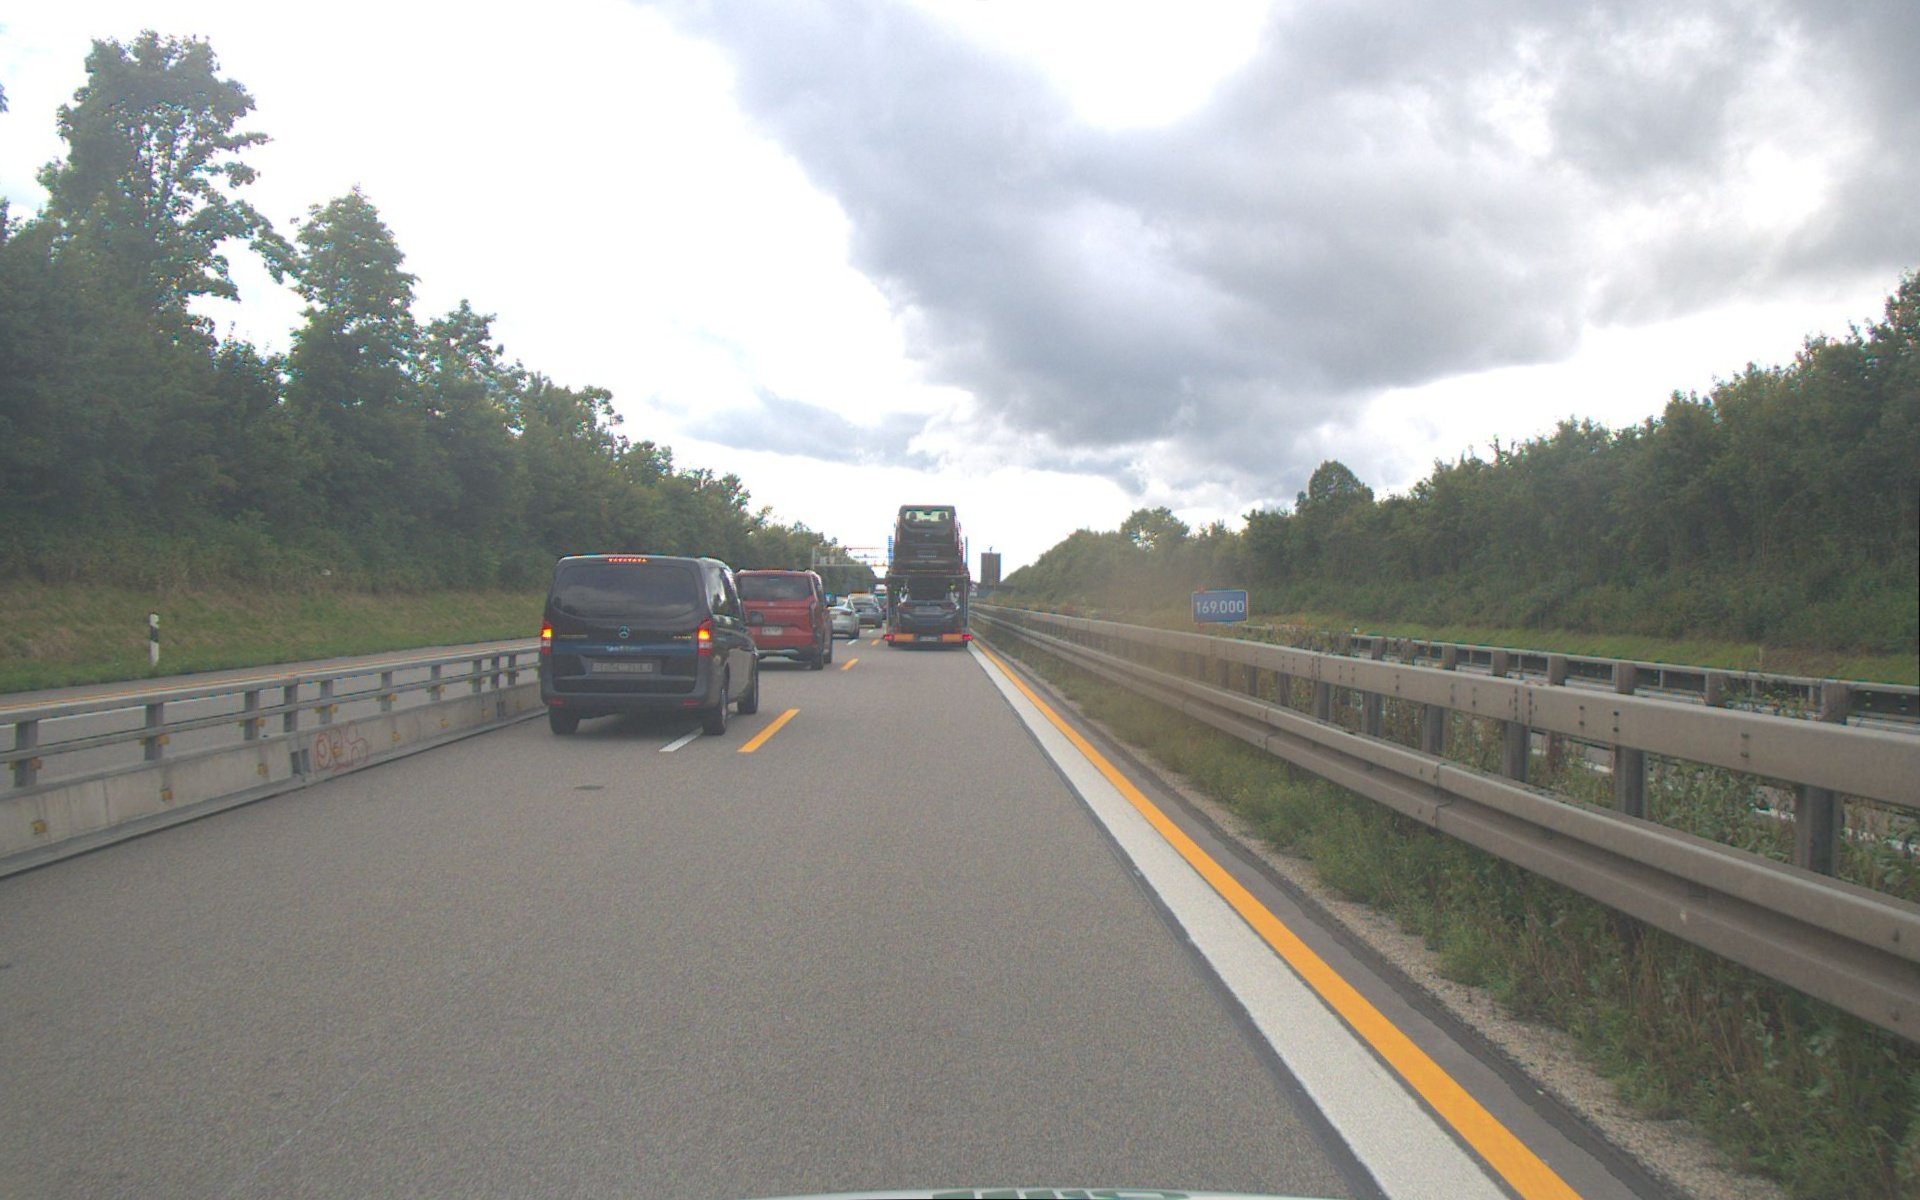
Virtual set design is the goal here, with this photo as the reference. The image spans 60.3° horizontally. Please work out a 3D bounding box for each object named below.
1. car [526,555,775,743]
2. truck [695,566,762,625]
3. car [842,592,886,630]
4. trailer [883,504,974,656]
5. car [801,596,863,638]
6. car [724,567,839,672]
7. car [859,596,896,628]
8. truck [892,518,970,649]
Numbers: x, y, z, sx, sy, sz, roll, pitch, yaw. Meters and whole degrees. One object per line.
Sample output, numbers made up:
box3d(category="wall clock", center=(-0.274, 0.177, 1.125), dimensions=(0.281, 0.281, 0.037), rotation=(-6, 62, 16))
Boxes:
box3d(category="car", center=(-3.401, 0.493, 19.311), dimensions=(1.953, 1.875, 5.608), rotation=(0, 0, -1))
box3d(category="truck", center=(-11.419, -0.219, 82.039), dimensions=(2.439, 2.765, 6.666), rotation=(1, 0, -1))
box3d(category="car", center=(-4.584, 0.532, 79.676), dimensions=(1.990, 1.788, 4.576), rotation=(0, 0, -2))
box3d(category="trailer", center=(-0.927, -0.551, 51.385), dimensions=(2.464, 4.177, 11.111), rotation=(1, 0, -1))
box3d(category="car", center=(-4.547, 0.581, 59.375), dimensions=(1.990, 1.456, 4.576), rotation=(0, 0, -2))
box3d(category="car", center=(-3.660, 0.384, 34.697), dimensions=(1.990, 2.049, 4.576), rotation=(0, 0, -1))
box3d(category="car", center=(-4.658, 0.665, 93.699), dimensions=(1.990, 1.788, 4.576), rotation=(0, 0, -2))
box3d(category="truck", center=(-0.969, -0.533, 56.108), dimensions=(2.464, 4.177, 5.684), rotation=(1, 0, -1))
